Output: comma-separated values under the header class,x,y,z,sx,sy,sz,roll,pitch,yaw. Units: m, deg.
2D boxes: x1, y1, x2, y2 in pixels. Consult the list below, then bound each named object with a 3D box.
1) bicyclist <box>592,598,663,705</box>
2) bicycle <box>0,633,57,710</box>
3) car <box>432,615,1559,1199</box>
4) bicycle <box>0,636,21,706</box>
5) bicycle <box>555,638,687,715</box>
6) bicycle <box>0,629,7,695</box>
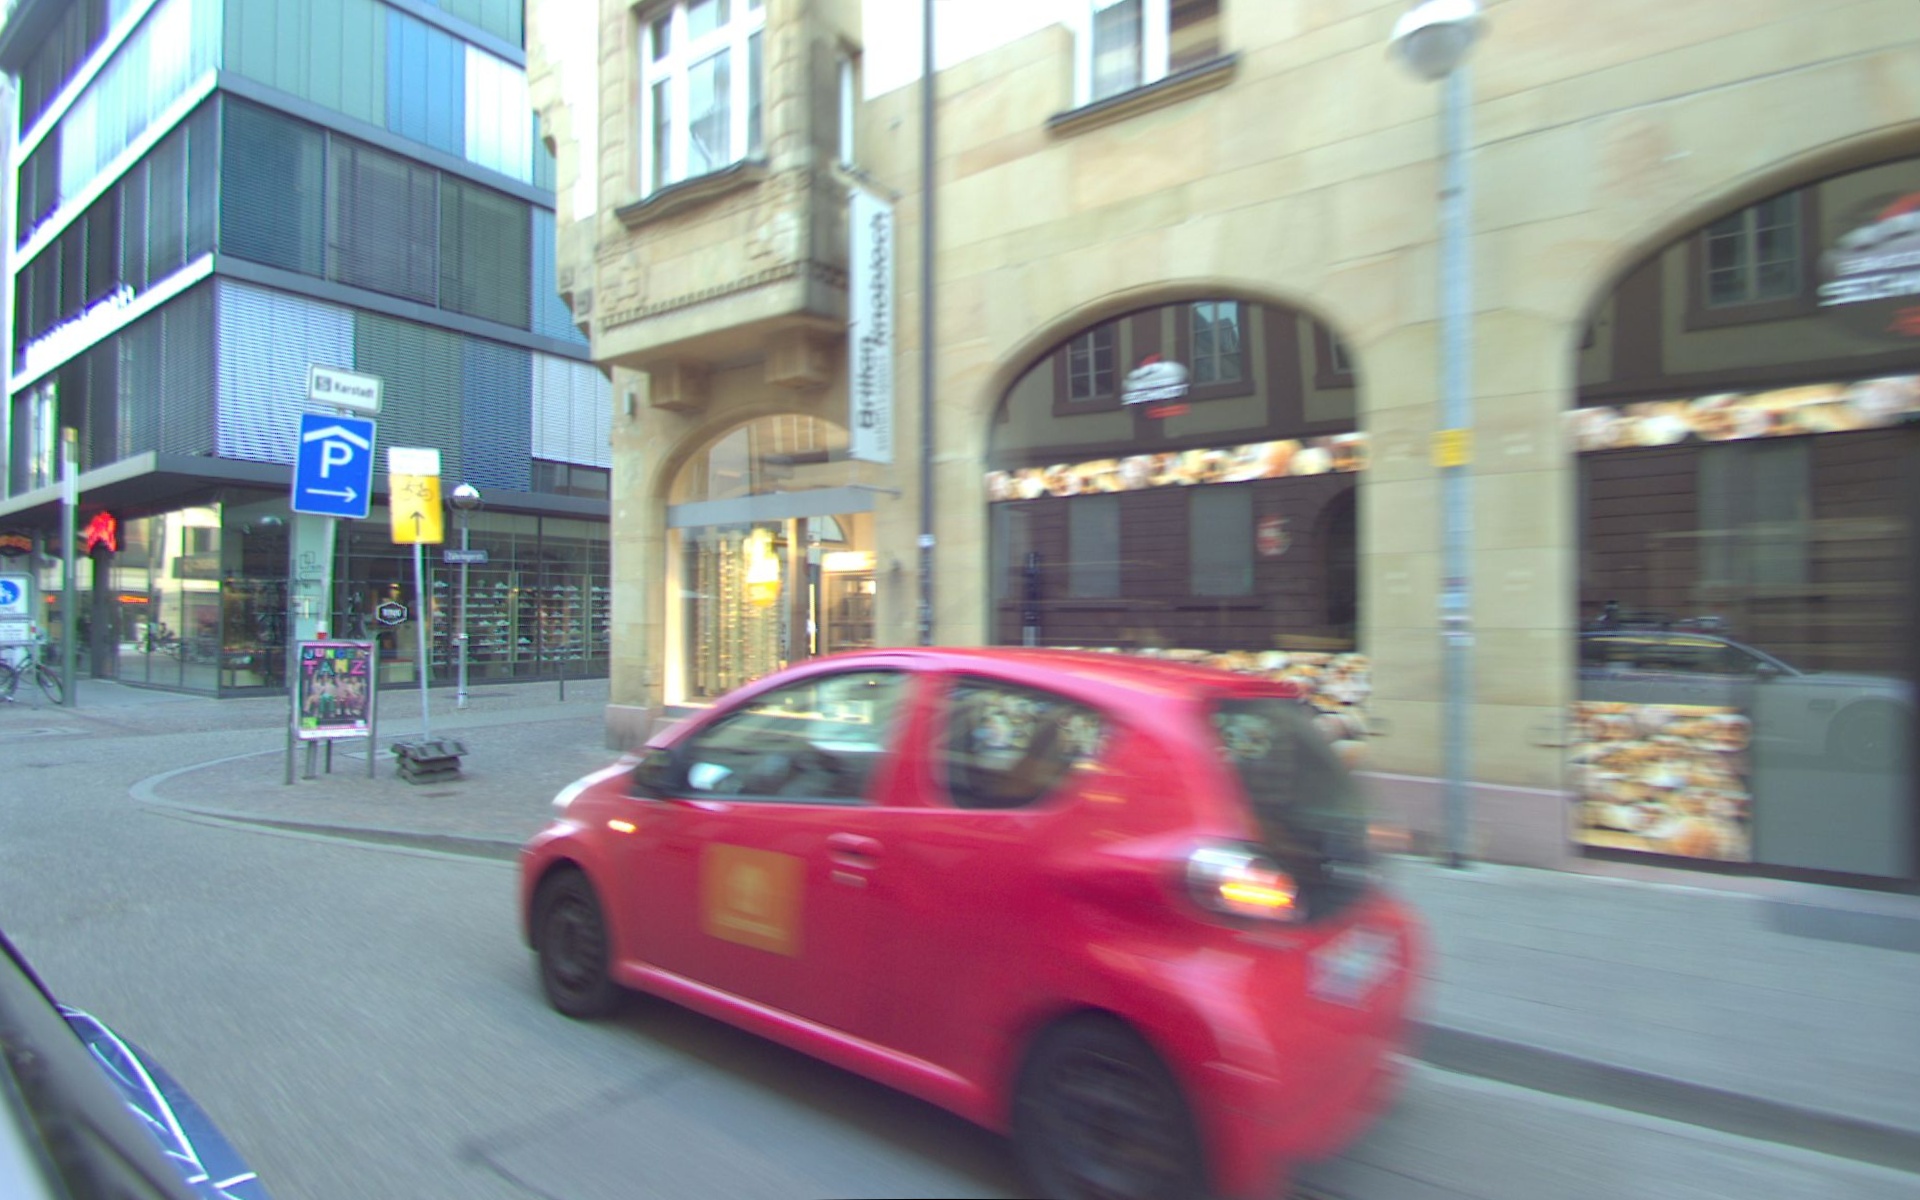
class,x,y,z,sx,sy,sz,roll,pitch,yaw
bicyclist,-5.392,0.822,16.427,0.675,1.683,0.858,-2,-2,38
bicycle,-15.872,1.184,16.495,0.508,1.213,1.651,-1,0,36
car,-0.170,0.822,3.726,3.926,1.481,1.642,-1,-3,38
bicycle,-17.183,1.253,17.076,0.516,1.190,1.881,-3,-1,35
bicycle,-5.439,1.205,16.356,0.699,1.137,1.979,-2,-2,38
bicycle,-19.245,1.240,18.977,0.537,1.279,1.880,-1,2,37
